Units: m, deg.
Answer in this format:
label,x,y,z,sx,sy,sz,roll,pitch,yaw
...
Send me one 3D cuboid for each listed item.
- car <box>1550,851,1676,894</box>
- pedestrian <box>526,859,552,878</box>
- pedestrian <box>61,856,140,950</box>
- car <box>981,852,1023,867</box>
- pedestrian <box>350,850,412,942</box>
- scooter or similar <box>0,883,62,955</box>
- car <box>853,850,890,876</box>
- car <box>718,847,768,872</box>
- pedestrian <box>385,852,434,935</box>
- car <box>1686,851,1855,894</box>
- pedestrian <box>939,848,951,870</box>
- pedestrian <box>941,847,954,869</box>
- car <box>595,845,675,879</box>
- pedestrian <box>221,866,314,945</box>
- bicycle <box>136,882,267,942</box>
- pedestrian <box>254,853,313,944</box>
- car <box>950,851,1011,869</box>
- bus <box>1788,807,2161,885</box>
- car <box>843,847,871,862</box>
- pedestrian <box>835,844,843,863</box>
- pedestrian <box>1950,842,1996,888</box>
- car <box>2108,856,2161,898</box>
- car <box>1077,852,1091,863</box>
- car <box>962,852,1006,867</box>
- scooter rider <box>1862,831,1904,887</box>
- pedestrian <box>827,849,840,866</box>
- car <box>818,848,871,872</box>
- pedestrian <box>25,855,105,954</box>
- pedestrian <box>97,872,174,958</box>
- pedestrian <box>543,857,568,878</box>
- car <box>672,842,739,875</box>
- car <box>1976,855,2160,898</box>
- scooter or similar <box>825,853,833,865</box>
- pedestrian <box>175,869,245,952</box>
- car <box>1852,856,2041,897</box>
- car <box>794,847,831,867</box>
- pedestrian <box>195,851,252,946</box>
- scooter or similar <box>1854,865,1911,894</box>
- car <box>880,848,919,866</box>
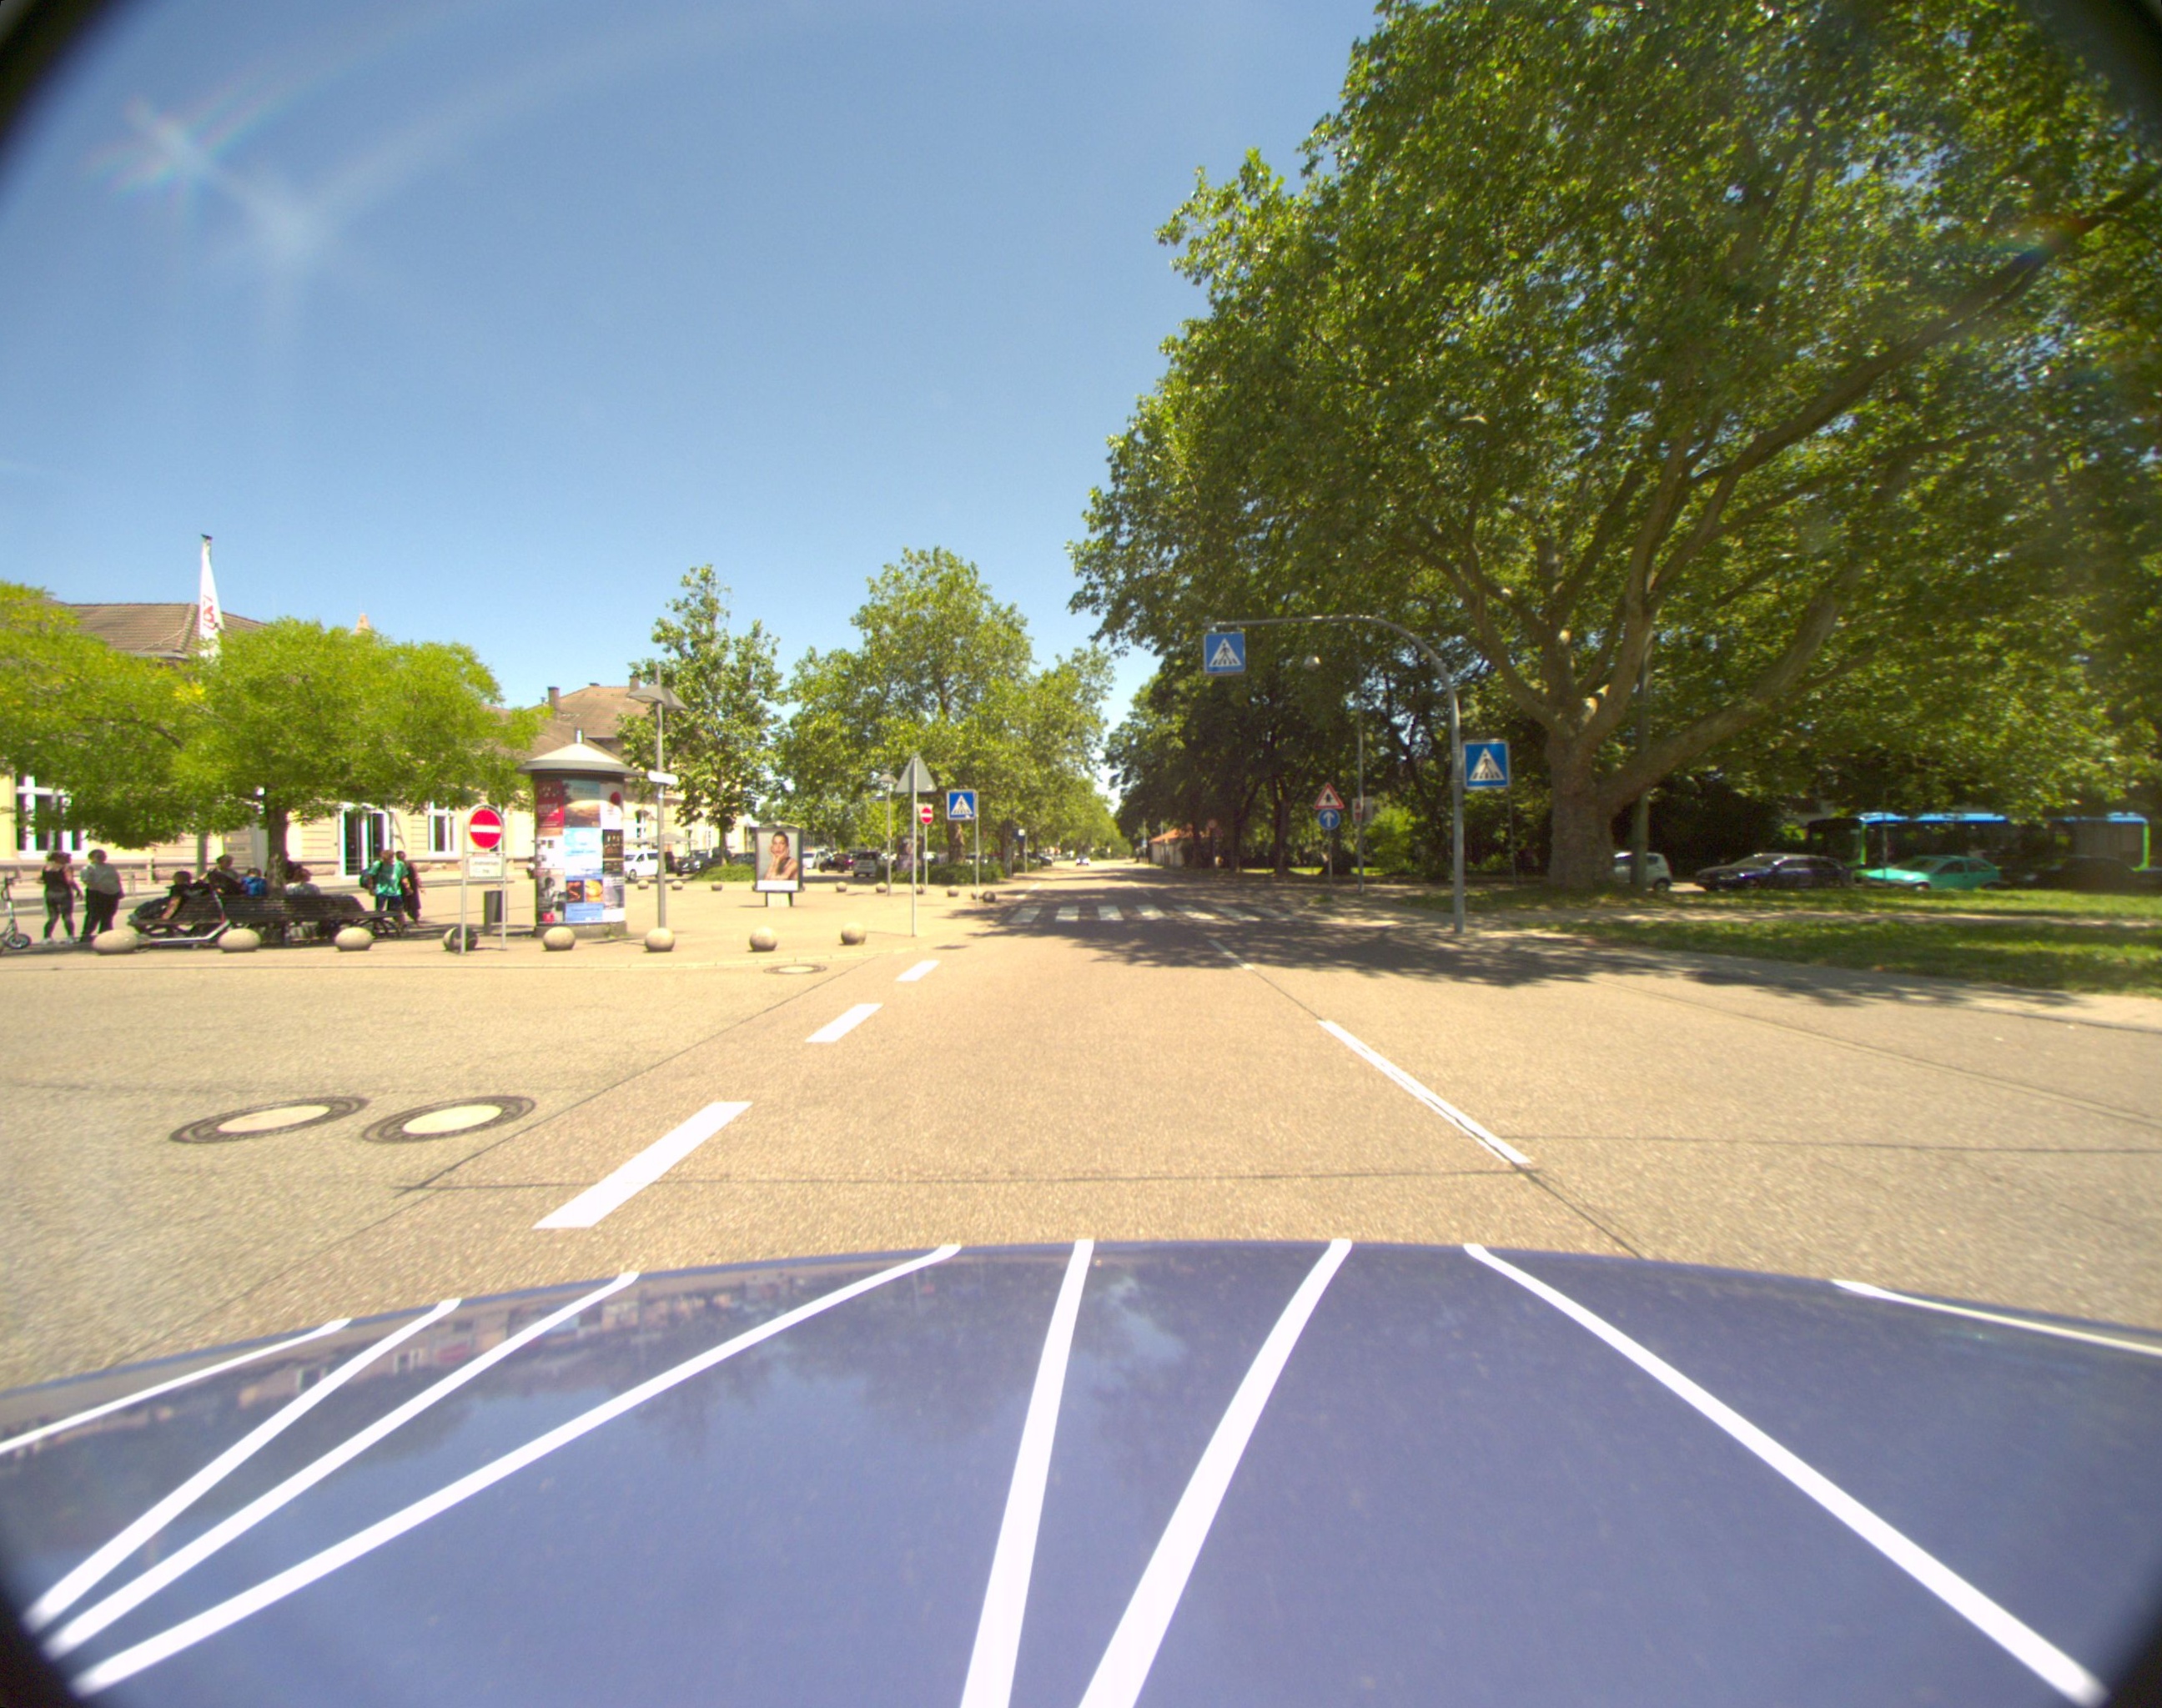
label,x,y,z,sx,sy,sz,roll,pitch,yaw
car,19.543,0.664,28.020,3.483,1.489,1.599,0,2,1
pedestrian,-31.394,0.813,44.021,0.881,1.073,0.851,1,1,-4
pedestrian,-17.965,0.880,13.941,0.619,1.675,0.590,-1,1,-12
car,-7.995,0.515,76.953,3.882,1.452,1.633,0,1,-28
pedestrian,-13.693,0.805,14.879,0.694,1.753,0.584,-1,1,-20
scooter or similar,-17.227,1.045,12.257,1.028,1.133,0.294,0,1,-7
car,-13.081,0.529,47.671,1.601,1.584,3.105,0,1,-4
car,-26.522,0.446,59.831,2.080,1.829,4.838,-1,0,-4
pedestrian,-14.380,0.827,16.283,0.628,1.730,0.547,-1,1,-25
car,24.965,0.652,27.624,4.499,1.431,1.755,0,2,1
pedestrian,-11.060,0.375,61.960,0.839,1.760,0.850,0,1,-18
pedestrian,-10.725,0.328,60.977,0.839,1.760,0.850,0,1,-20
car,-26.419,0.445,45.213,1.814,1.855,5.138,-1,0,-2
pedestrian,-15.142,0.922,14.180,0.914,1.378,0.942,-1,1,-29
bicycle,-17.933,1.151,15.560,0.421,1.054,1.948,0,1,-1
pedestrian,-15.726,0.857,14.994,0.586,1.730,0.598,-1,1,-25
car,-8.305,0.486,62.777,4.782,1.409,1.783,-1,1,-19
bus,40.845,-0.353,33.791,15.938,3.276,2.877,0,1,1
car,-27.952,0.036,94.816,1.998,1.779,4.247,-2,1,2
pedestrian,-26.476,-0.071,83.126,0.628,1.978,0.617,-2,1,-5
pedestrian,34.963,0.422,29.786,0.940,1.792,0.722,0,1,-4
car,40.446,0.813,27.583,3.915,1.484,1.760,0,1,0
car,0.375,0.415,99.687,1.660,1.368,3.451,-3,0,2
car,-9.289,0.495,73.124,3.882,1.452,1.633,0,1,-28
scooter rider,32.895,0.202,31.185,0.926,2.304,0.741,0,1,2
pedestrian,-21.422,0.310,65.747,0.689,1.416,0.803,0,1,35
car,-17.533,0.406,56.160,4.516,1.534,1.804,2,3,44
pedestrian,-17.709,0.868,13.256,0.555,1.675,0.587,-1,1,-12
pedestrian,-15.703,0.995,12.632,0.600,1.356,0.598,-1,1,-28
pedestrian,-30.454,0.786,44.067,0.881,1.155,0.851,1,1,-4
car,-25.982,0.300,52.794,2.093,2.111,5.823,-1,0,-4
car,35.805,0.783,27.646,4.372,1.484,1.760,0,1,0
scooter or similar,-21.924,0.446,66.097,0.436,1.095,0.404,0,1,35
pedestrian,-14.866,0.951,12.987,0.600,1.356,0.598,-1,1,-28
car,31.181,0.791,27.464,4.766,1.431,1.756,0,1,1
car,-26.103,0.273,73.941,2.004,1.830,5.315,-2,1,-4
pedestrian,-16.081,0.820,14.265,0.513,1.730,0.569,-1,1,-29
scooter or similar,32.890,1.049,31.201,1.517,1.176,0.741,0,1,2
car,-17.383,0.262,72.803,1.804,1.596,4.051,-3,3,-45
